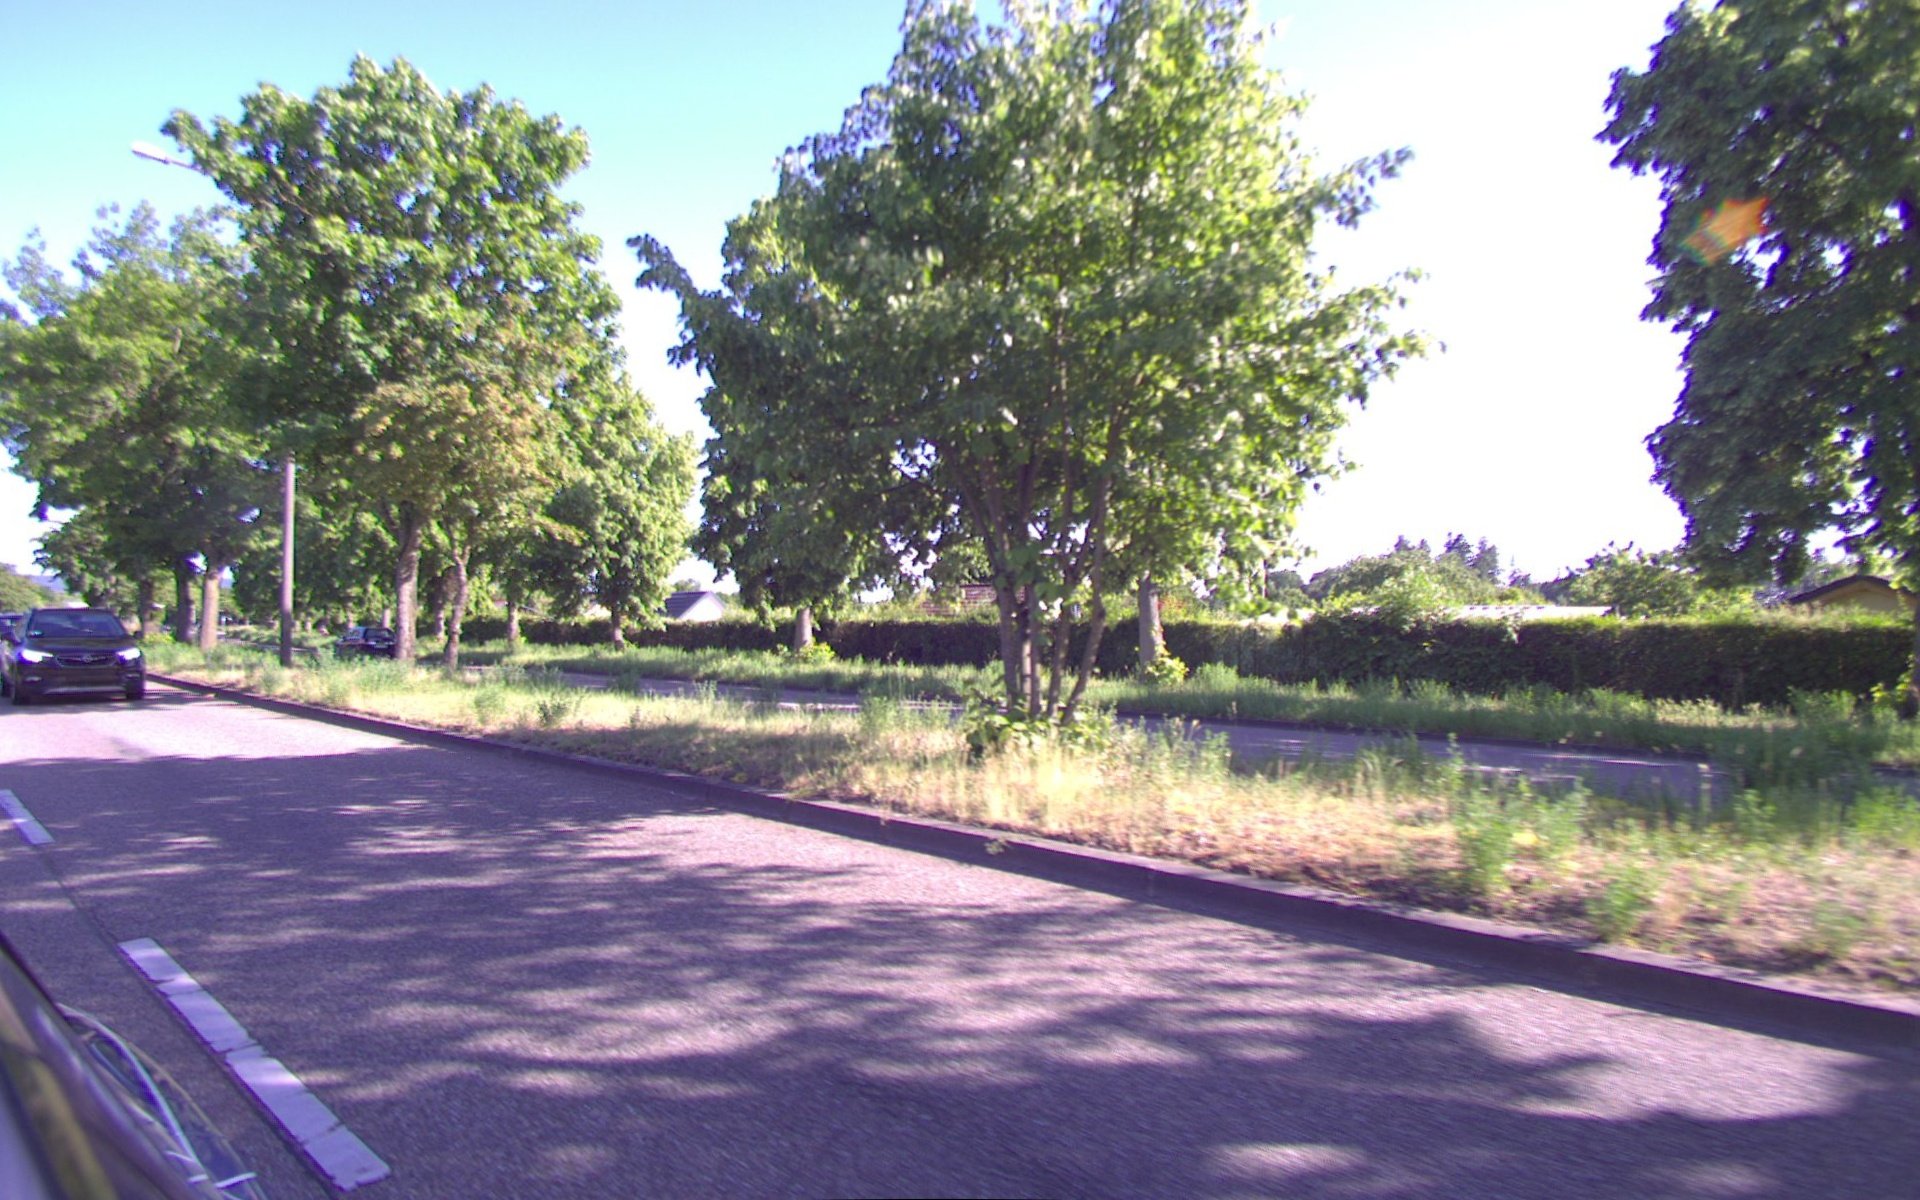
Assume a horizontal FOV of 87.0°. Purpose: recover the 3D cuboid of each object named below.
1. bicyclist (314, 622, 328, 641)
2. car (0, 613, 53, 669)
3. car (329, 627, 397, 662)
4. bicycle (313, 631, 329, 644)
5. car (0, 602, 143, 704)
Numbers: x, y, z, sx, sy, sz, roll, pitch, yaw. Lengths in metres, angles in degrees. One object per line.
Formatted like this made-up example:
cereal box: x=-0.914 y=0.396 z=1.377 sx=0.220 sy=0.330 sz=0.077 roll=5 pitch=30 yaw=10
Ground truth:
bicyclist: x=-48.239 y=2.404 z=76.361 sx=0.681 sy=1.432 sz=1.001 roll=2 pitch=-3 yaw=-42
car: x=-28.684 y=1.209 z=30.500 sx=1.796 sy=1.574 sz=4.654 roll=1 pitch=-2 yaw=-40
car: x=-27.275 y=2.003 z=46.188 sx=1.672 sy=1.447 sz=4.946 roll=5 pitch=-4 yaw=-41
bicycle: x=-48.196 y=2.838 z=76.280 sx=0.681 sy=1.004 sz=1.843 roll=2 pitch=-2 yaw=-42
car: x=-16.179 y=0.880 z=18.357 sx=1.785 sy=1.627 sz=4.519 roll=2 pitch=-2 yaw=-43
